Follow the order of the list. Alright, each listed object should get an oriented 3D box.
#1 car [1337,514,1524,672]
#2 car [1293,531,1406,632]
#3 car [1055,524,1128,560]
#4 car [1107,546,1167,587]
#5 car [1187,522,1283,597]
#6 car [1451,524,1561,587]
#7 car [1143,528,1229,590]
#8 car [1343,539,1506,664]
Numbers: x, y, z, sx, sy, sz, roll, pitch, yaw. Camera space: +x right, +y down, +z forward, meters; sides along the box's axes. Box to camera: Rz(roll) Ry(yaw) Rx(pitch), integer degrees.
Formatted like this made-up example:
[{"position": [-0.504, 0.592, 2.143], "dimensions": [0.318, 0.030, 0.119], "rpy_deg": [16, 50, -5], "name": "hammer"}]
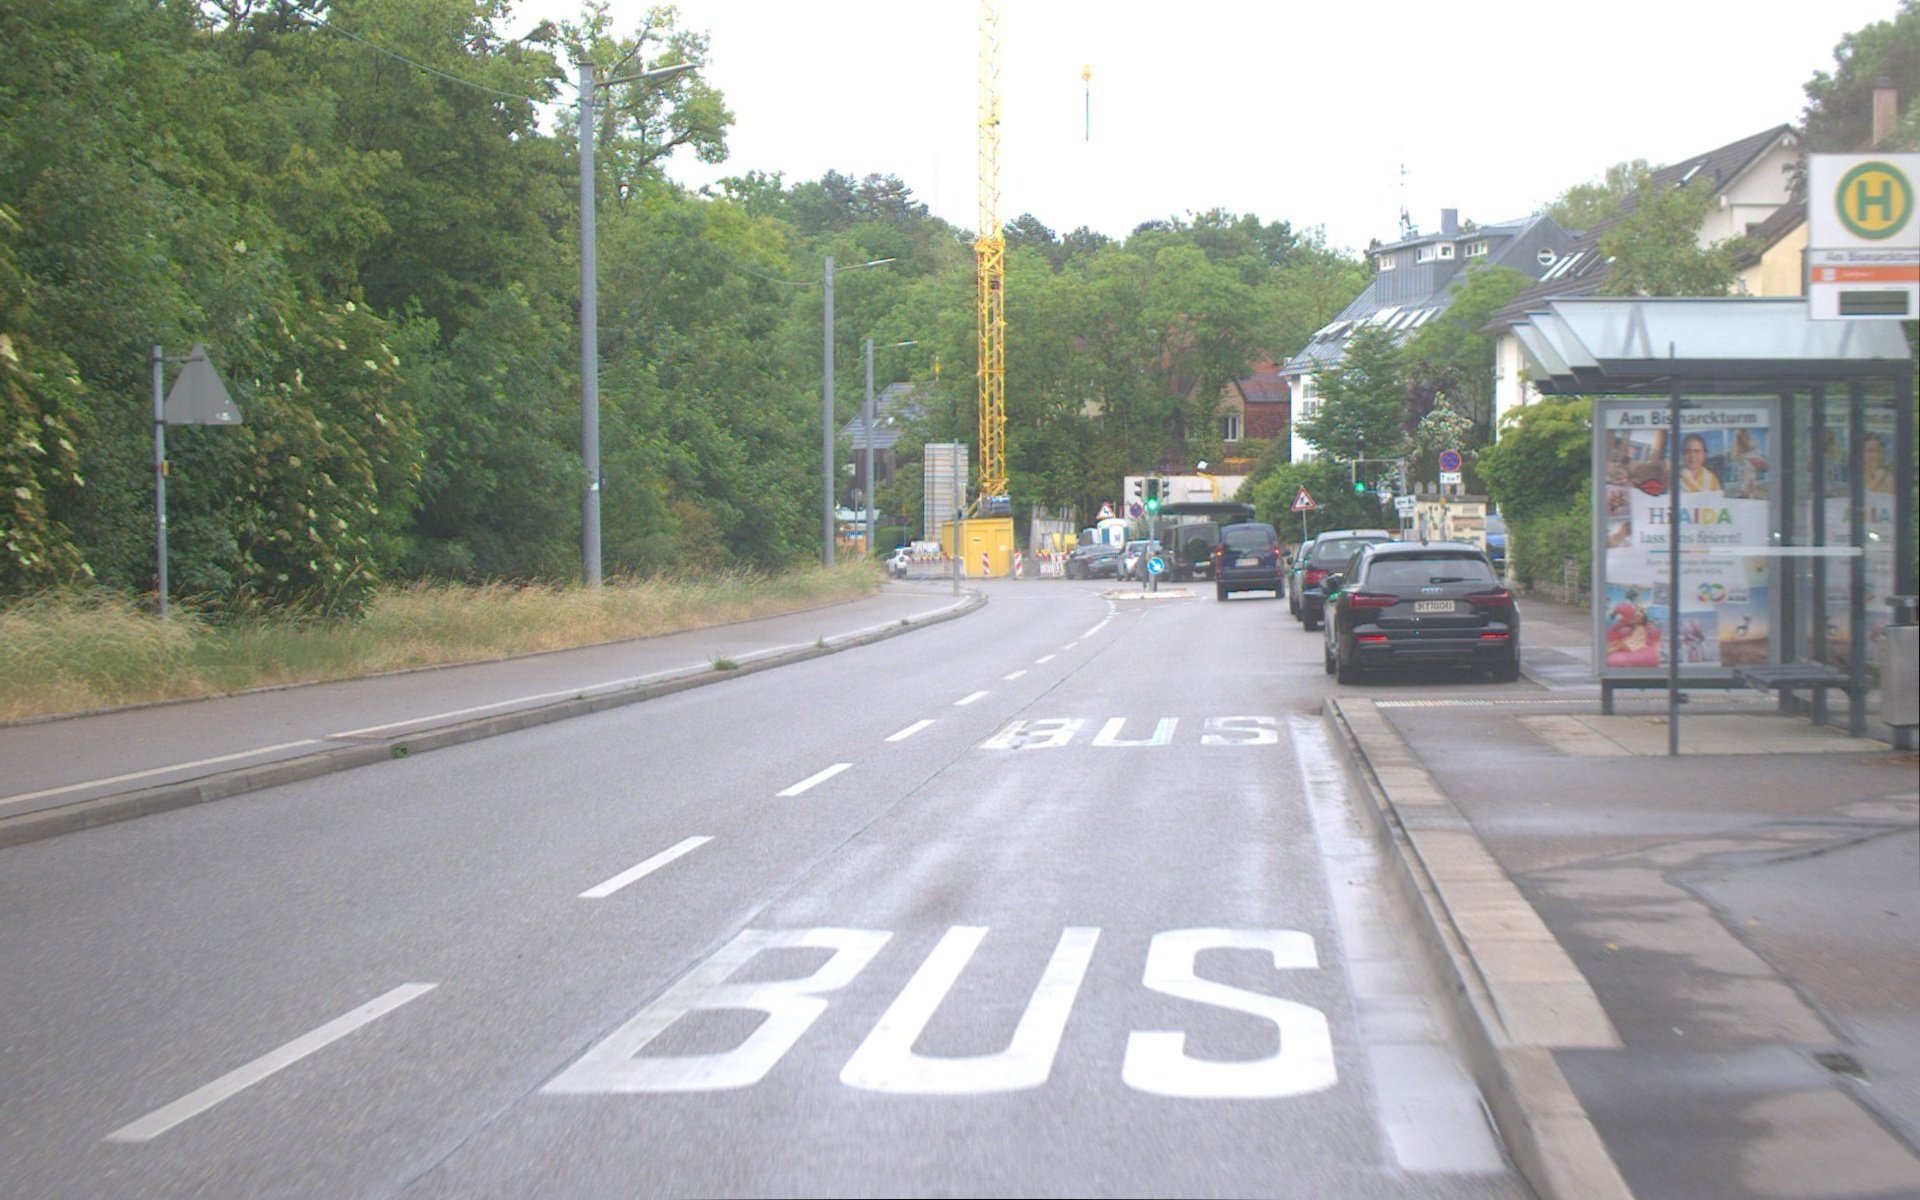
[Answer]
[{"position": [4.950, -0.063, 36.564], "dimensions": [1.830, 1.542, 4.628], "rpy_deg": [-1, 0, 7], "name": "car"}, {"position": [6.450, -0.336, 57.278], "dimensions": [1.730, 1.562, 4.521], "rpy_deg": [-2, 1, 5], "name": "car"}, {"position": [5.411, -2.415, 142.162], "dimensions": [1.931, 1.417, 4.839], "rpy_deg": [0, 1, -11], "name": "car"}, {"position": [6.591, -1.245, 128.214], "dimensions": [1.672, 1.452, 3.386], "rpy_deg": [-2, 1, -6], "name": "car"}, {"position": [6.732, -0.975, 84.394], "dimensions": [1.932, 1.745, 4.000], "rpy_deg": [2, 0, -1], "name": "car"}, {"position": [14.675, -1.180, 92.627], "dimensions": [1.931, 1.590, 4.342], "rpy_deg": [2, 0, -4], "name": "car"}, {"position": [7.762, -1.408, 118.626], "dimensions": [1.993, 2.007, 4.957], "rpy_deg": [-3, 1, -7], "name": "car"}, {"position": [5.491, 0.018, 41.022], "dimensions": [1.813, 1.393, 4.101], "rpy_deg": [-1, 0, 6], "name": "car"}]
